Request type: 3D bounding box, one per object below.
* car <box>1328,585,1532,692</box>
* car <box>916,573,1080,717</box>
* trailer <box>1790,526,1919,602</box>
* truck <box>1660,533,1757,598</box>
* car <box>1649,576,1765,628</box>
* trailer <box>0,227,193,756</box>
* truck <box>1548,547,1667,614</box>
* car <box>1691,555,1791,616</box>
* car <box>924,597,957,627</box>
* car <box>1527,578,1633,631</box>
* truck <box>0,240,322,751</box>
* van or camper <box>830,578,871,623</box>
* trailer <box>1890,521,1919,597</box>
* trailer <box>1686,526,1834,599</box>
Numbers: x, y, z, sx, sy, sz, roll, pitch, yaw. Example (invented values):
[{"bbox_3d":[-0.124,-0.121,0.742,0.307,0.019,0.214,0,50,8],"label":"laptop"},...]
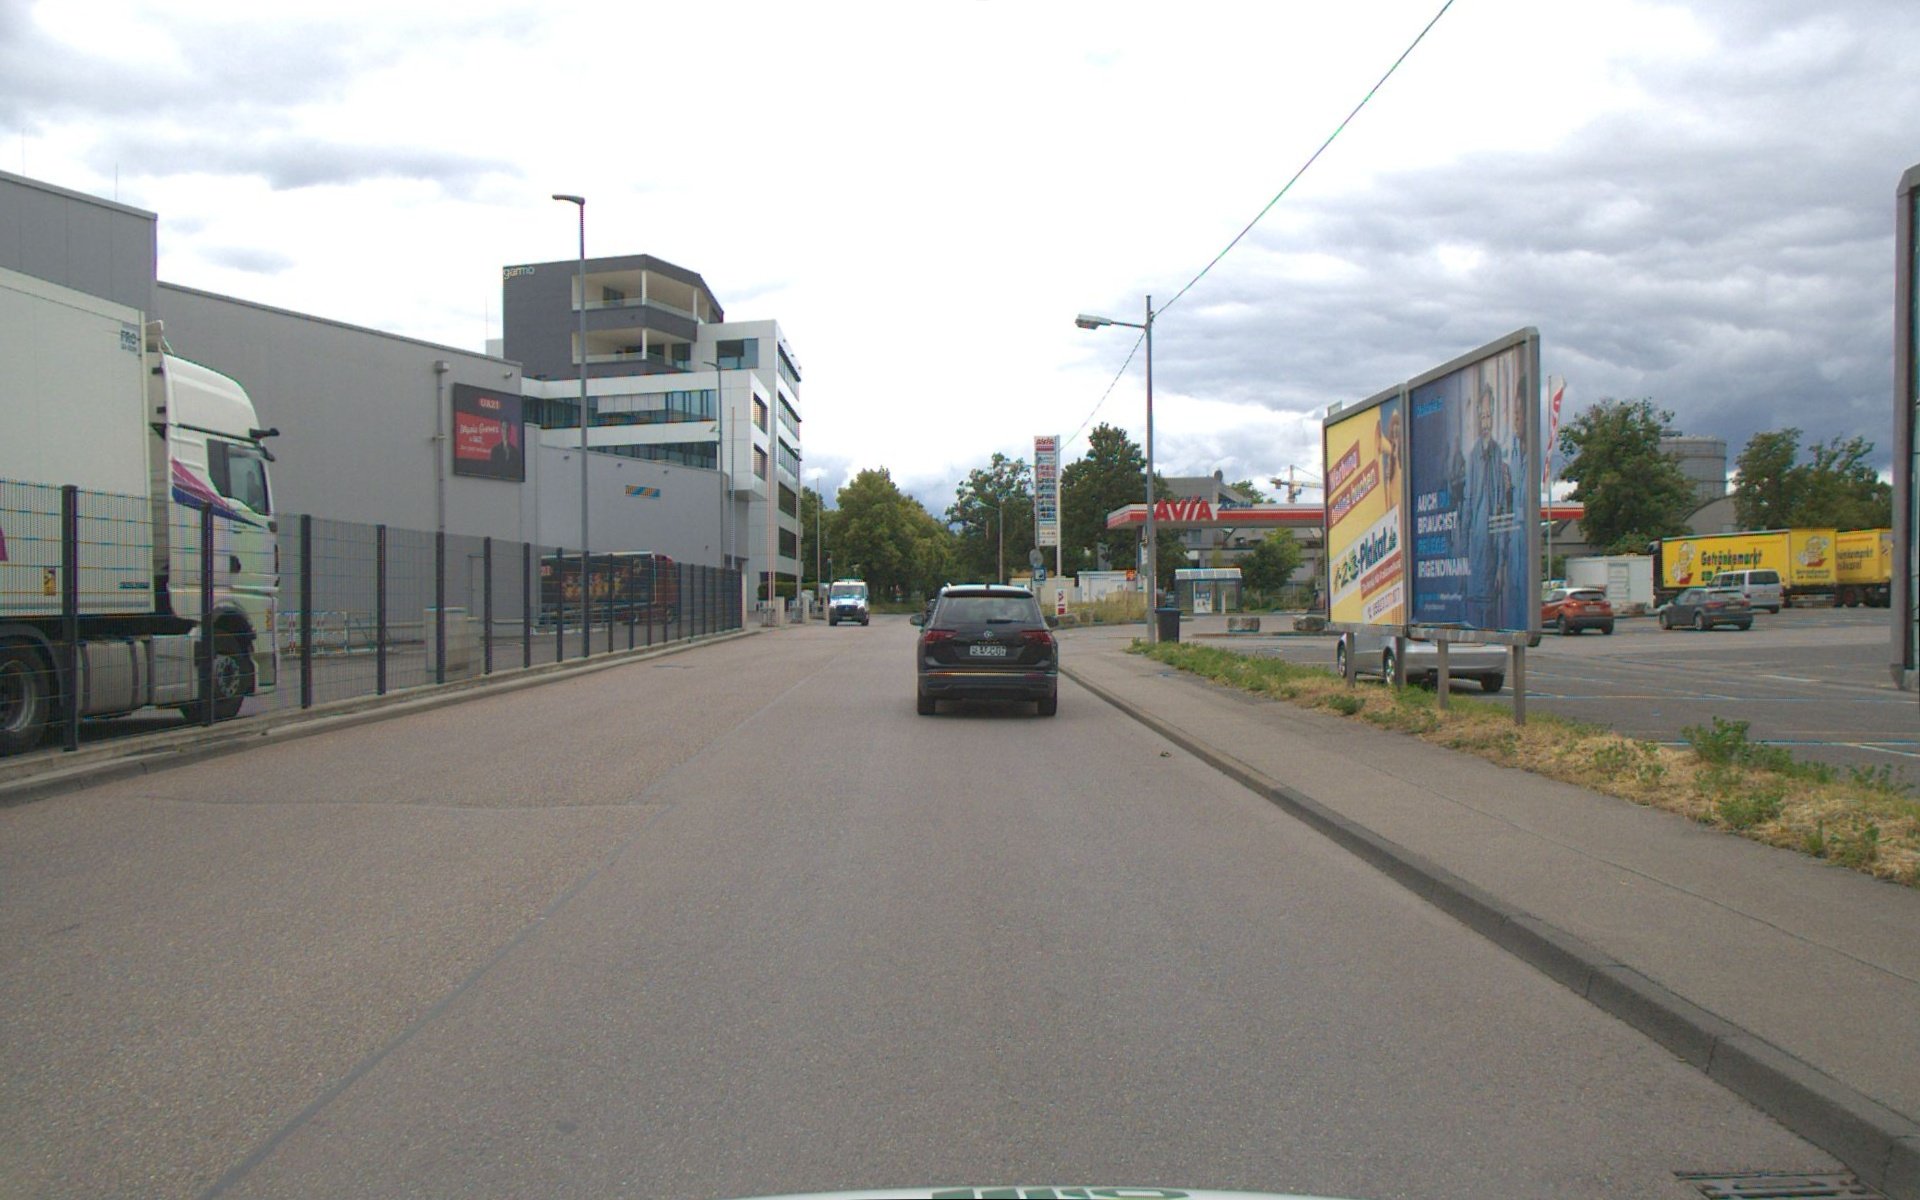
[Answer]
[{"bbox_3d":[7.181,0.556,25.738,1.851,1.470,4.428,1,0,-1],"label":"car"},{"bbox_3d":[0.424,0.553,22.057,1.953,1.713,4.370,0,0,-1],"label":"car"},{"bbox_3d":[46.759,-1.876,86.325,2.952,3.758,7.489,-1,1,-2],"label":"trailer"},{"bbox_3d":[42.717,-1.962,94.583,2.970,3.523,5.505,-1,1,-1],"label":"truck"},{"bbox_3d":[25.977,0.063,57.661,1.954,1.736,4.185,-1,0,-3],"label":"car"},{"bbox_3d":[-9.437,-0.808,9.307,3.069,4.334,14.022,-4,0,2],"label":"trailer"},{"bbox_3d":[32.778,-1.012,84.075,3.110,3.200,7.509,-1,1,0],"label":"truck"},{"bbox_3d":[35.770,-0.656,75.892,2.048,2.694,5.370,-1,0,0],"label":"car"},{"bbox_3d":[-1.219,0.701,101.407,1.953,1.713,4.370,-1,1,-2],"label":"car"},{"bbox_3d":[21.285,0.154,56.940,1.954,1.736,3.997,-1,0,-3],"label":"car"},{"bbox_3d":[-9.228,-0.757,15.850,3.064,4.188,6.943,-4,0,2],"label":"truck"},{"bbox_3d":[-5.794,0.016,87.748,1.953,2.296,3.999,0,0,-1],"label":"van or camper"},{"bbox_3d":[54.829,-2.211,87.173,2.811,4.223,14.919,-1,1,-2],"label":"trailer"},{"bbox_3d":[42.821,-1.997,89.003,2.970,3.691,10.138,-1,1,-1],"label":"trailer"}]
